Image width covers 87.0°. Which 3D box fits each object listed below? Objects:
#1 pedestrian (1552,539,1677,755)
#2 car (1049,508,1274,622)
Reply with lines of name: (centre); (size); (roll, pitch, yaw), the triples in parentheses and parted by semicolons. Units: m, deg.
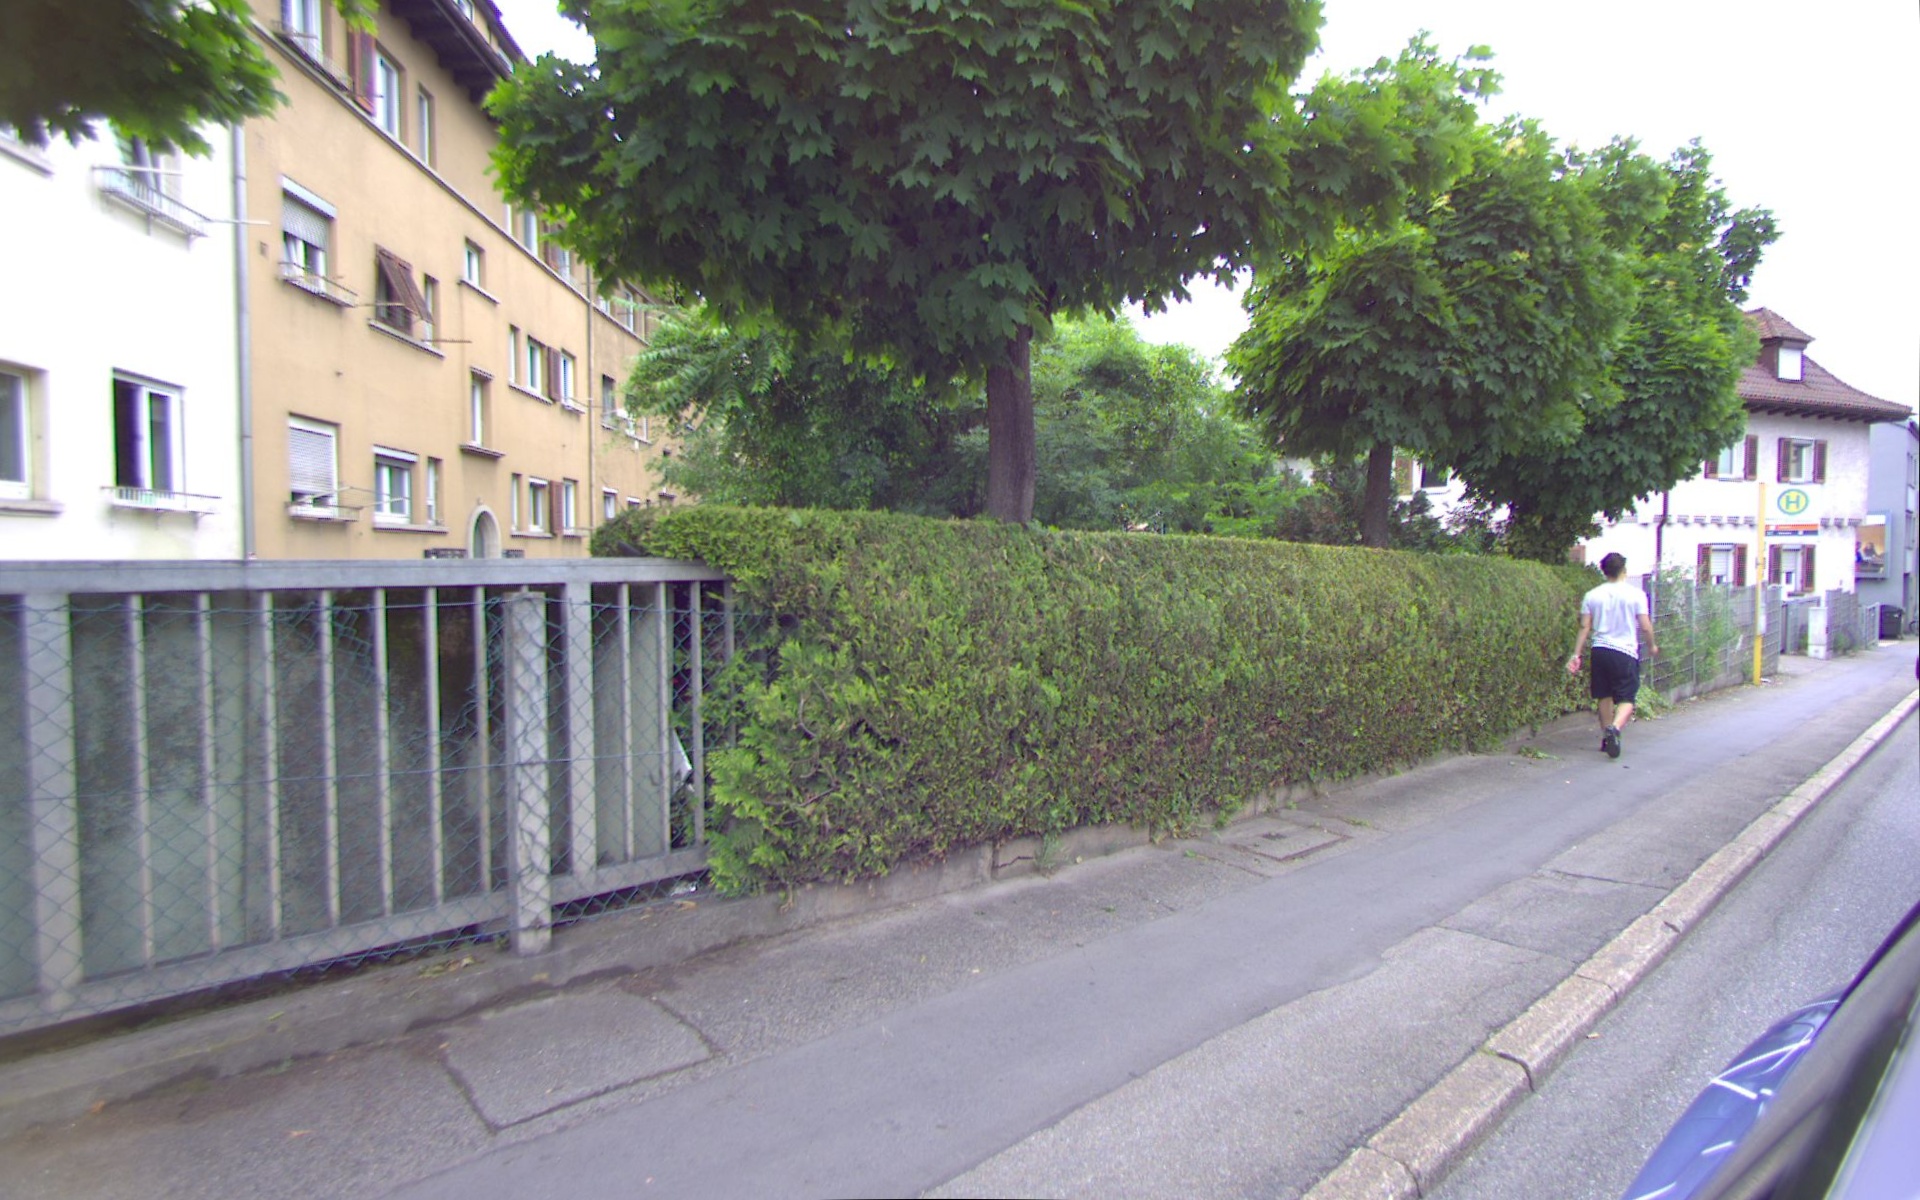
pedestrian: (5.648, 0.375, 8.746); (0.459, 1.758, 0.695); (0, 4, -42)
car: (3.857, -0.673, 19.896); (3.923, 2.039, 2.001); (1, 1, -1)
